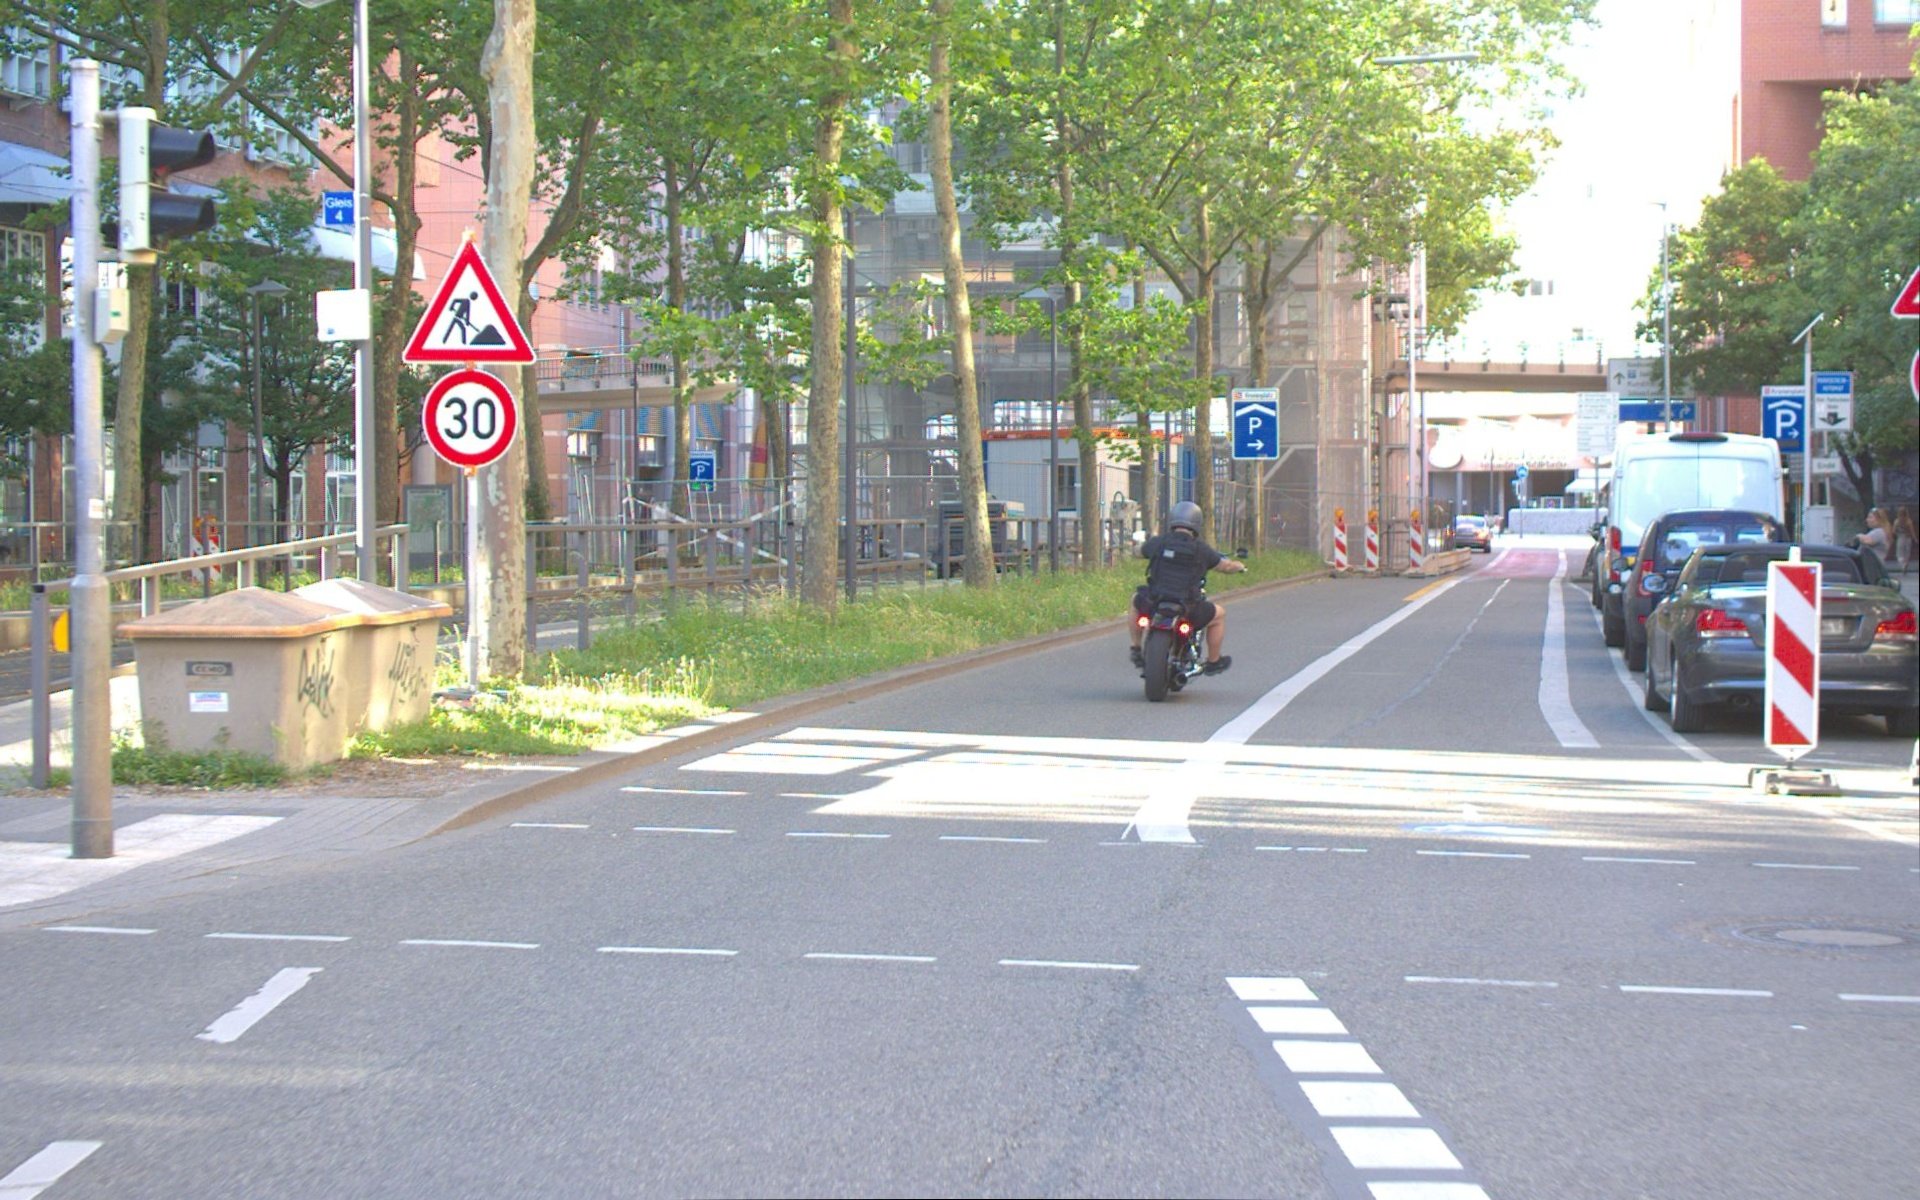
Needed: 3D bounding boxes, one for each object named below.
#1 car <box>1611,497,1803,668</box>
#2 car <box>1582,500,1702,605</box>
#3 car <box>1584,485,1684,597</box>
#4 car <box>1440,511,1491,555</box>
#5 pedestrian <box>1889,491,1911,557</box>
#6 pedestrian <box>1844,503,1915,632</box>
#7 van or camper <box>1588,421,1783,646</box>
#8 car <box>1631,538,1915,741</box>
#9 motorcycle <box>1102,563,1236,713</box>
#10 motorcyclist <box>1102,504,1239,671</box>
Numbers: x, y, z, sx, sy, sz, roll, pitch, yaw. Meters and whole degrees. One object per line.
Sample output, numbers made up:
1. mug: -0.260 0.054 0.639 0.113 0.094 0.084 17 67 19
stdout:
1. car: 7.505 -0.233 34.855 1.621 1.613 4.484 0 2 9
2. car: 10.822 -0.786 54.718 1.620 1.604 3.773 0 2 7
3. car: 11.615 -1.040 59.138 1.621 1.859 3.773 0 2 12
4. car: 20.185 -2.687 137.402 1.852 1.711 3.999 0 2 6
5. pedestrian: 22.967 -1.853 83.986 0.449 1.621 0.375 0 2 4
6. pedestrian: 11.688 -0.417 43.711 0.762 1.639 0.547 0 2 2
7. van or camper: 8.735 -0.846 41.793 2.049 2.532 5.771 0 2 9
8. car: 5.881 0.222 25.276 1.621 1.298 4.311 0 2 8
9. motorcycle: 1.673 0.279 27.302 1.018 1.093 2.007 0 2 4
10. motorcyclist: 1.676 -0.112 27.248 1.012 1.258 0.774 2 2 5
